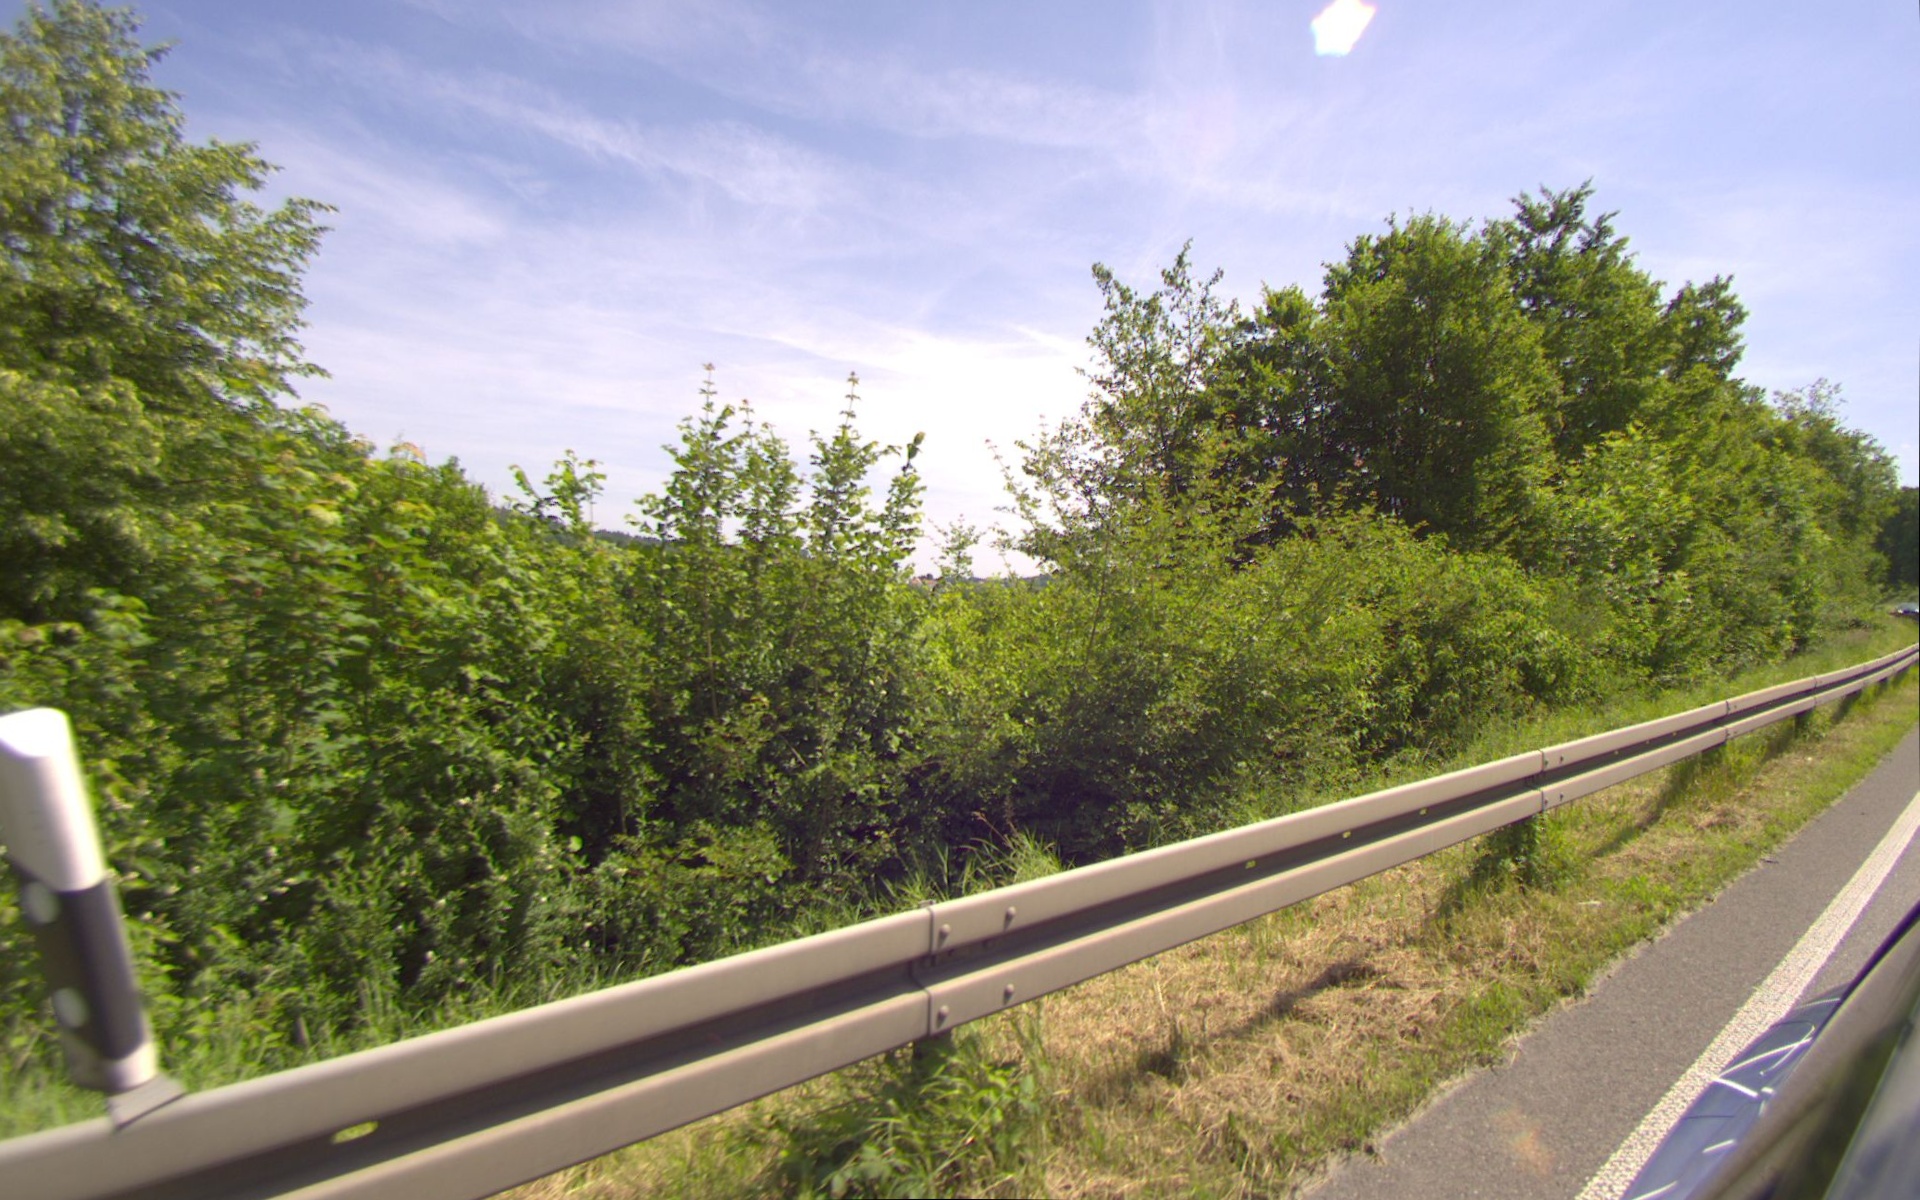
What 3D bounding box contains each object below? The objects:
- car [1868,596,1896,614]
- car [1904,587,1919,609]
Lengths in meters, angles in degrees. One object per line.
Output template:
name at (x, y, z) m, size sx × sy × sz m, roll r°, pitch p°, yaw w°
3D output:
car at (113.415, 0.599, 124.544) m, size 1.987 × 2.039 × 3.949 m, roll -1°, pitch 0°, yaw 36°
car at (91.564, -0.223, 96.648) m, size 1.993 × 2.039 × 3.937 m, roll -1°, pitch -1°, yaw 44°
